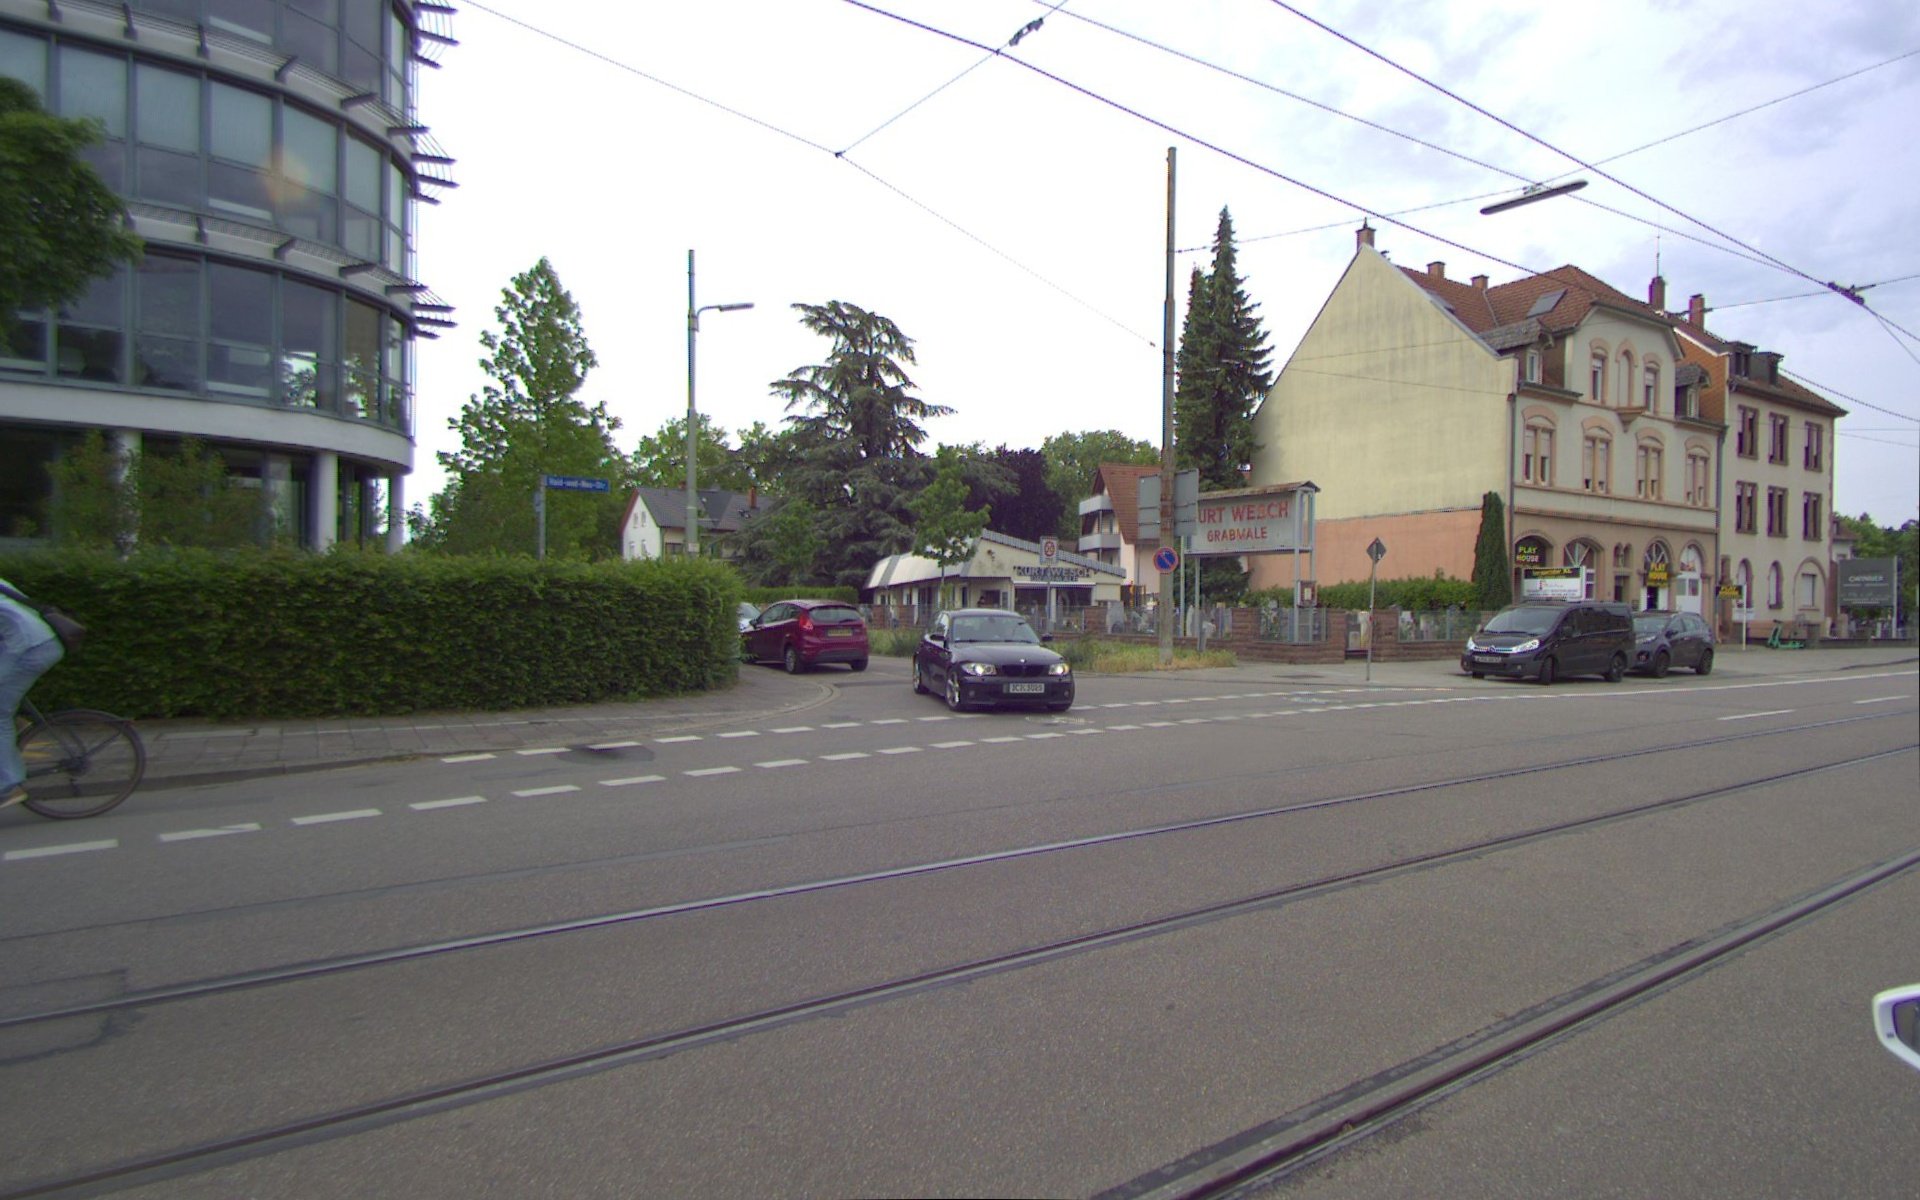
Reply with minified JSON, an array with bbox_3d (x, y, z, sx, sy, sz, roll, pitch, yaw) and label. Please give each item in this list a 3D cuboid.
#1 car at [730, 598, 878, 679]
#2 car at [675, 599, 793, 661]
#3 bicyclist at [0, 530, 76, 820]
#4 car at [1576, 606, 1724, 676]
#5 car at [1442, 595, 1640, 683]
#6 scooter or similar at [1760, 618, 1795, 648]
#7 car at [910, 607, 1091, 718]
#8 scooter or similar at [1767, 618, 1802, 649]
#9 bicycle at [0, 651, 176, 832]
[{"bbox_3d":[-3.376,0.728,21.267,1.749,1.437,3.687,-1,2,-33],"label":"car"},{"bbox_3d":[-5.766,0.727,25.292,1.811,1.439,3.968,2,-1,-30],"label":"car"},{"bbox_3d":[-6.229,0.460,6.309,0.972,1.772,0.728,1,-2,-44],"label":"bicyclist"},{"bbox_3d":[18.920,1.104,27.515,4.147,1.741,1.834,2,1,-32],"label":"car"},{"bbox_3d":[14.064,0.919,24.227,4.941,1.912,1.981,2,1,-31],"label":"car"},{"bbox_3d":[34.138,1.373,41.944,1.032,1.204,0.318,2,1,25],"label":"scooter or similar"},{"bbox_3d":[0.452,0.829,15.067,1.771,1.406,3.923,1,0,-13],"label":"car"},{"bbox_3d":[33.951,1.369,41.372,1.032,1.204,0.318,2,1,25],"label":"scooter or similar"},{"bbox_3d":[-6.203,0.889,6.322,1.944,1.088,0.581,1,-2,-44],"label":"bicycle"}]
